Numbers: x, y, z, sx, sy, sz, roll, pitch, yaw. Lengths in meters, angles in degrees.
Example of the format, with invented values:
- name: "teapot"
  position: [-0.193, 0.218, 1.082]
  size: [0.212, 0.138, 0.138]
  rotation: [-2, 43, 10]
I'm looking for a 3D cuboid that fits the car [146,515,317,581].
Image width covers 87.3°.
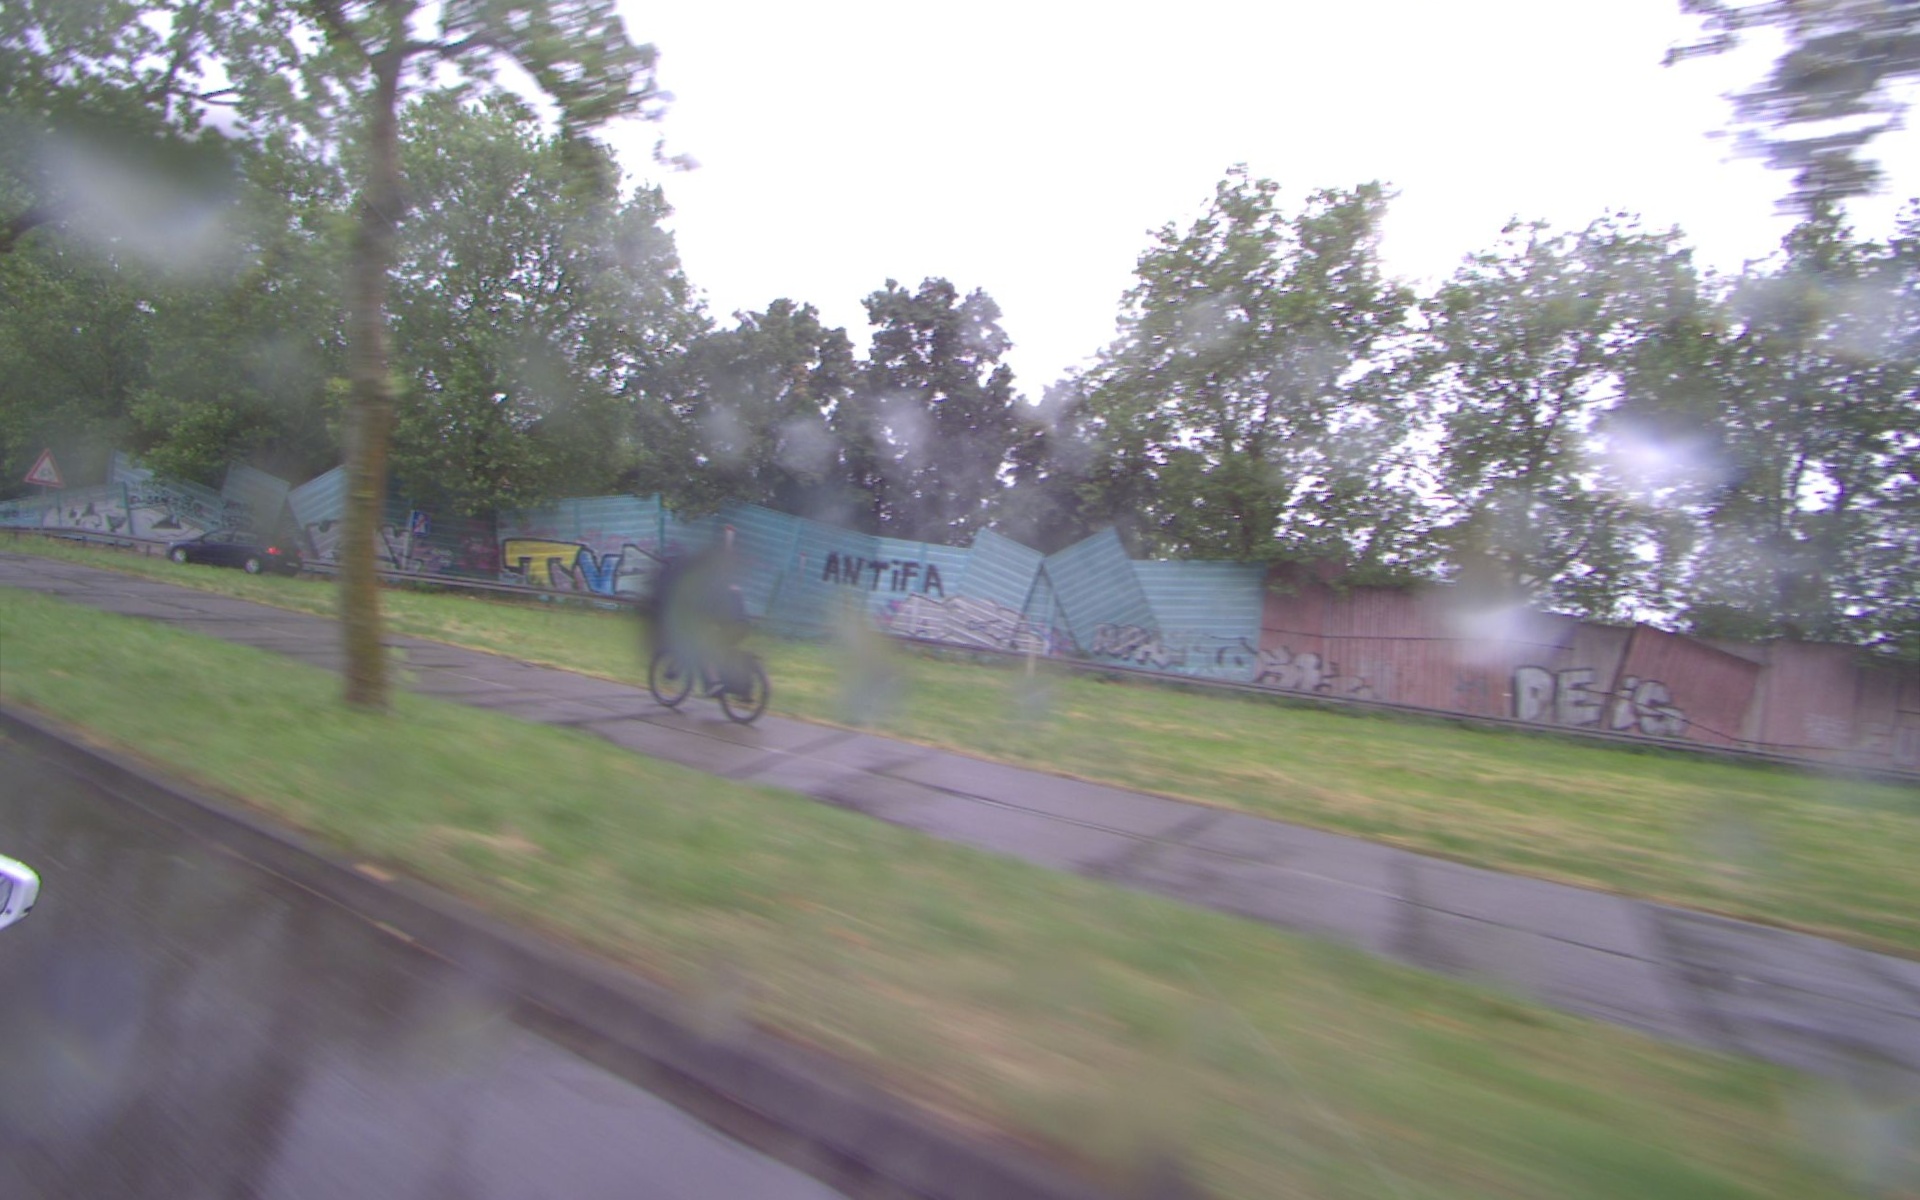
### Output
- name: "car"
  position: [-24.629, -1.732, 34.109]
  size: [4.431, 1.555, 1.870]
  rotation: [7, 0, 4]
